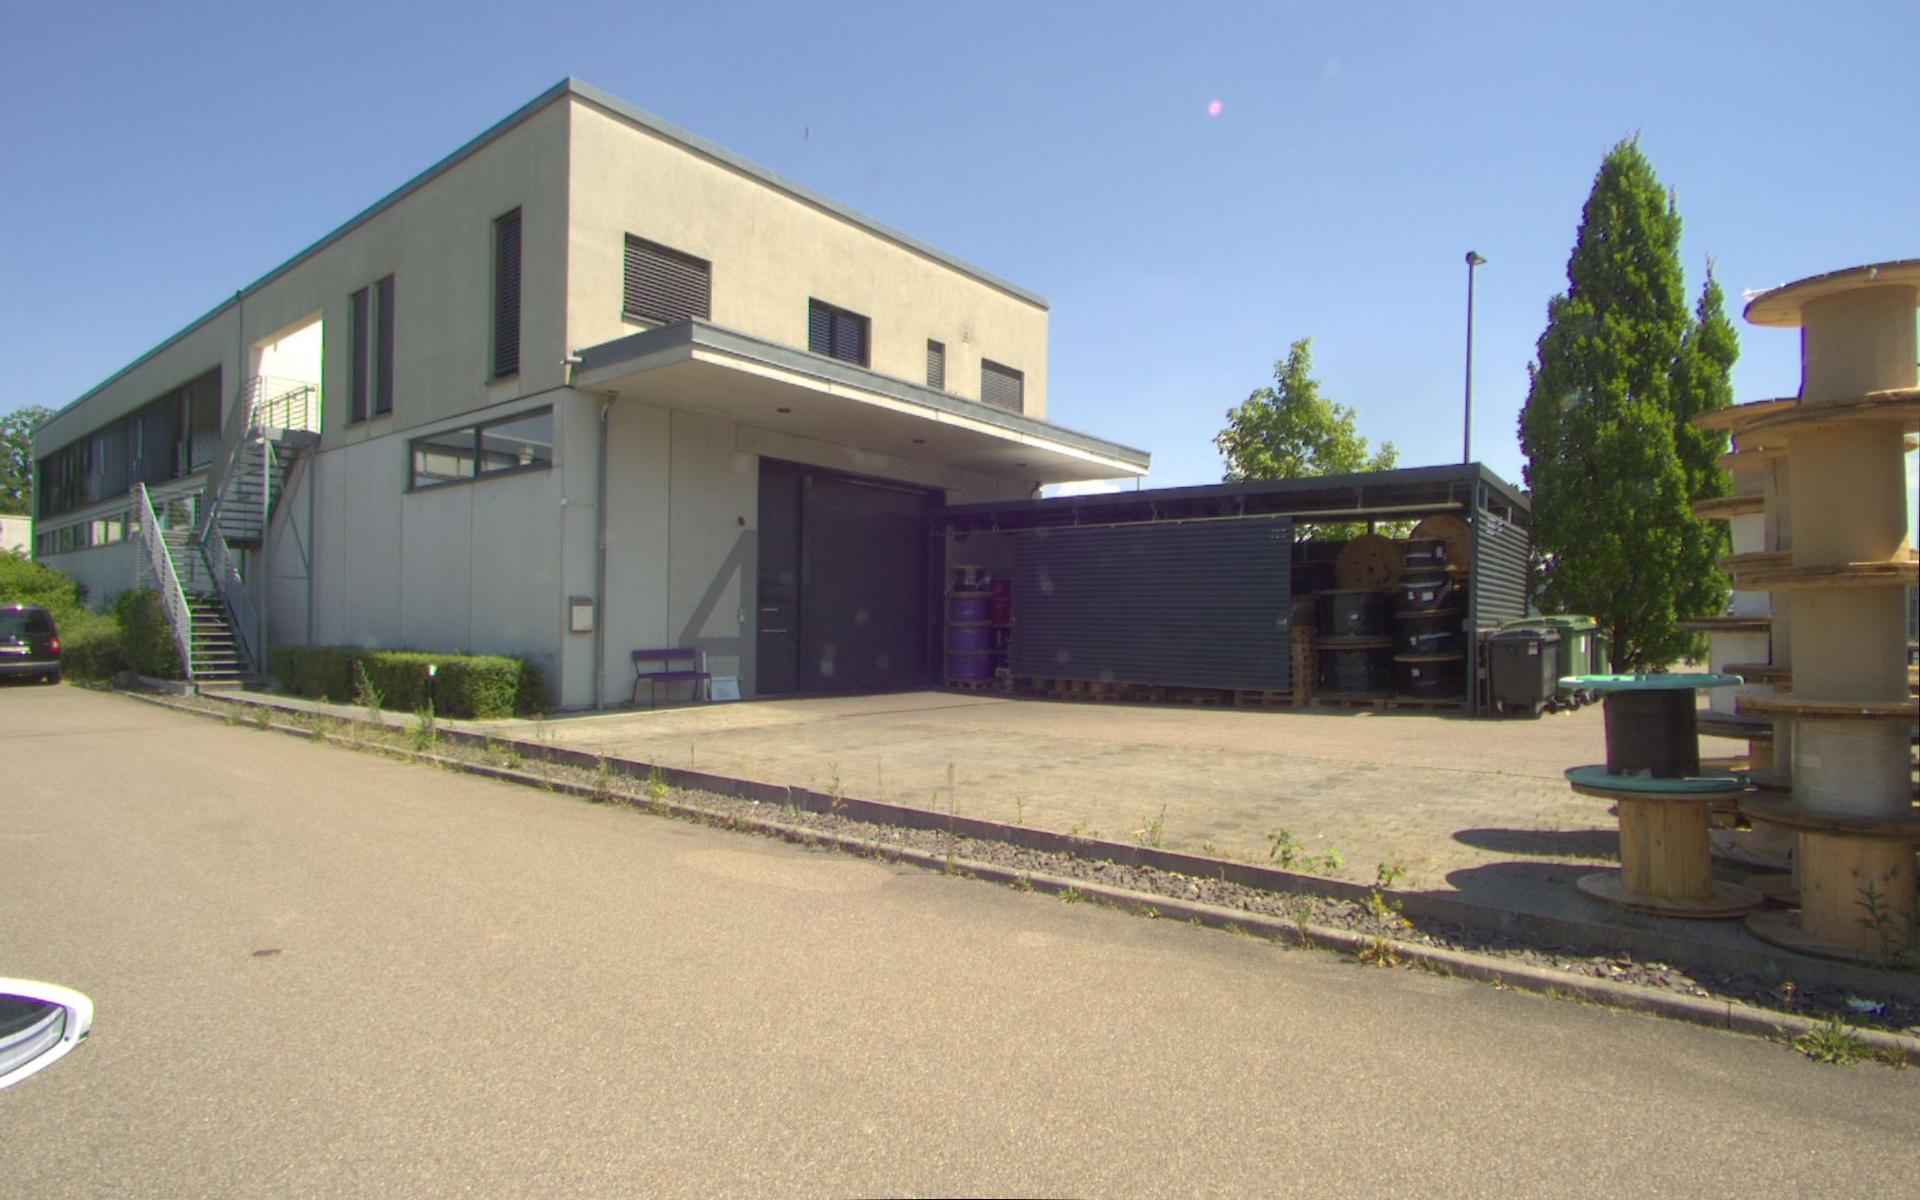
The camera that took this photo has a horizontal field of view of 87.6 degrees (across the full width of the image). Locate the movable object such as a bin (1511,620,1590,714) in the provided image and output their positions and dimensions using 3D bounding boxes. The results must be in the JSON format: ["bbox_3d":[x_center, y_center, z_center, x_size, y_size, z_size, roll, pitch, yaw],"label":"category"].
[{"bbox_3d":[8.664,0.965,14.694,0.748,1.315,0.794,0,-1,-43],"label":"movable object such as a bin"}]

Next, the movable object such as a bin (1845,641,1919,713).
[{"bbox_3d":[12.492,1.031,13.562,0.537,0.929,0.585,-1,-1,15],"label":"movable object such as a bin"}]

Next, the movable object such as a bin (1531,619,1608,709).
[{"bbox_3d":[9.294,0.960,15.270,0.802,1.315,0.794,0,-1,-43],"label":"movable object such as a bin"}]

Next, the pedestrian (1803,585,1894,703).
[{"bbox_3d":[13.865,0.665,15.638,0.756,1.792,0.807,-1,0,-20],"label":"pedestrian"}]

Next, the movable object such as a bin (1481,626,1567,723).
[{"bbox_3d":[7.769,0.998,13.791,0.867,1.266,0.794,0,-1,-43],"label":"movable object such as a bin"}]

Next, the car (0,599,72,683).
[{"bbox_3d":[-22.590,0.927,23.704,3.951,1.861,1.736,0,0,39],"label":"car"}]
